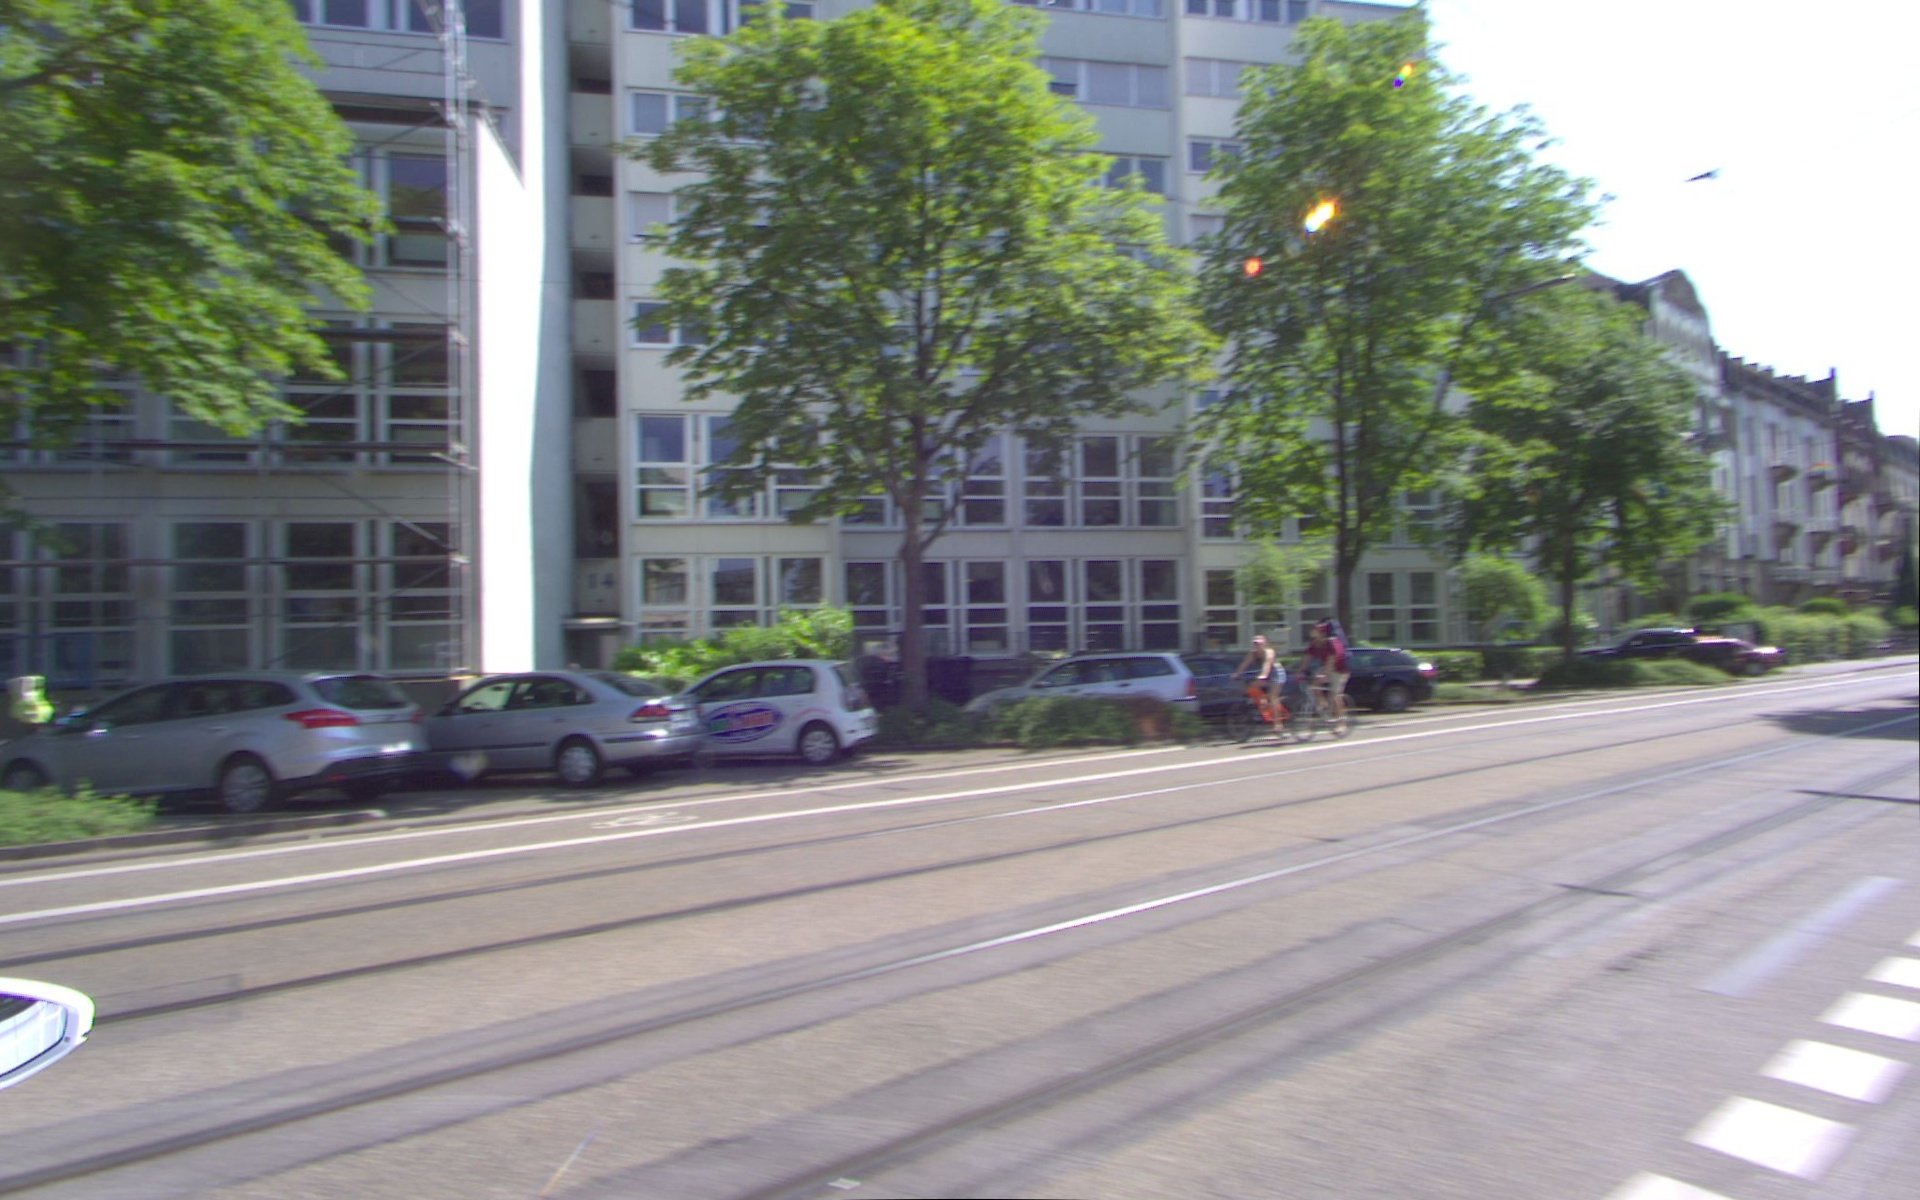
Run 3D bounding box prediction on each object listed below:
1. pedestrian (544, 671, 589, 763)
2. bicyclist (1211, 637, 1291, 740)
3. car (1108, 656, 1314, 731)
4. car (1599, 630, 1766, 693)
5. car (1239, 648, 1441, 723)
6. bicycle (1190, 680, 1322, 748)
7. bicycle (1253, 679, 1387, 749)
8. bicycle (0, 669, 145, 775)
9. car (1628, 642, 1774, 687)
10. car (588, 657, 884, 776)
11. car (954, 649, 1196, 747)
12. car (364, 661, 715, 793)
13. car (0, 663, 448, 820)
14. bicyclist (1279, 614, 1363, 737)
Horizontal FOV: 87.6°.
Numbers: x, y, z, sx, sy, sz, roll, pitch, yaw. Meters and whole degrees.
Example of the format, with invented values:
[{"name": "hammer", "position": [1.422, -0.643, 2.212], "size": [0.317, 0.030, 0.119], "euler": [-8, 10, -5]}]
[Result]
[{"name": "pedestrian", "position": [-6.572, 1.943, 16.737], "size": [0.614, 1.478, 0.422], "euler": [0, -3, -35]}, {"name": "bicyclist", "position": [4.586, 1.383, 15.787], "size": [0.853, 1.561, 0.800], "euler": [0, -4, -33]}, {"name": "car", "position": [5.009, 1.896, 20.406], "size": [3.870, 1.373, 1.559], "euler": [-2, -3, 8]}, {"name": "car", "position": [23.641, 2.019, 32.904], "size": [3.922, 1.882, 2.002], "euler": [-2, -3, 1]}, {"name": "car", "position": [8.310, 1.886, 22.166], "size": [3.870, 1.504, 1.559], "euler": [-2, -3, 8]}, {"name": "bicycle", "position": [4.679, 1.767, 15.750], "size": [2.290, 0.928, 0.676], "euler": [1, -4, -34]}, {"name": "bicycle", "position": [5.545, 1.719, 15.360], "size": [2.290, 0.928, 0.676], "euler": [1, -4, -34]}, {"name": "bicycle", "position": [-13.438, 1.792, 15.149], "size": [0.650, 1.471, 2.092], "euler": [-1, -3, -6]}, {"name": "car", "position": [28.132, 2.467, 38.135], "size": [3.923, 1.526, 2.001], "euler": [-2, -4, 8]}, {"name": "car", "position": [-3.207, 1.682, 14.640], "size": [3.870, 1.504, 1.614], "euler": [-3, -3, 9]}, {"name": "car", "position": [2.097, 1.819, 18.672], "size": [4.260, 1.623, 1.560], "euler": [-2, -4, 5]}, {"name": "car", "position": [-5.284, 1.589, 12.772], "size": [3.870, 1.504, 1.614], "euler": [-2, -3, 10]}, {"name": "car", "position": [-8.193, 1.506, 10.987], "size": [4.351, 1.504, 1.786], "euler": [-2, -3, 8]}, {"name": "bicyclist", "position": [5.539, 1.148, 15.391], "size": [0.853, 1.823, 0.800], "euler": [0, -4, -33]}]
